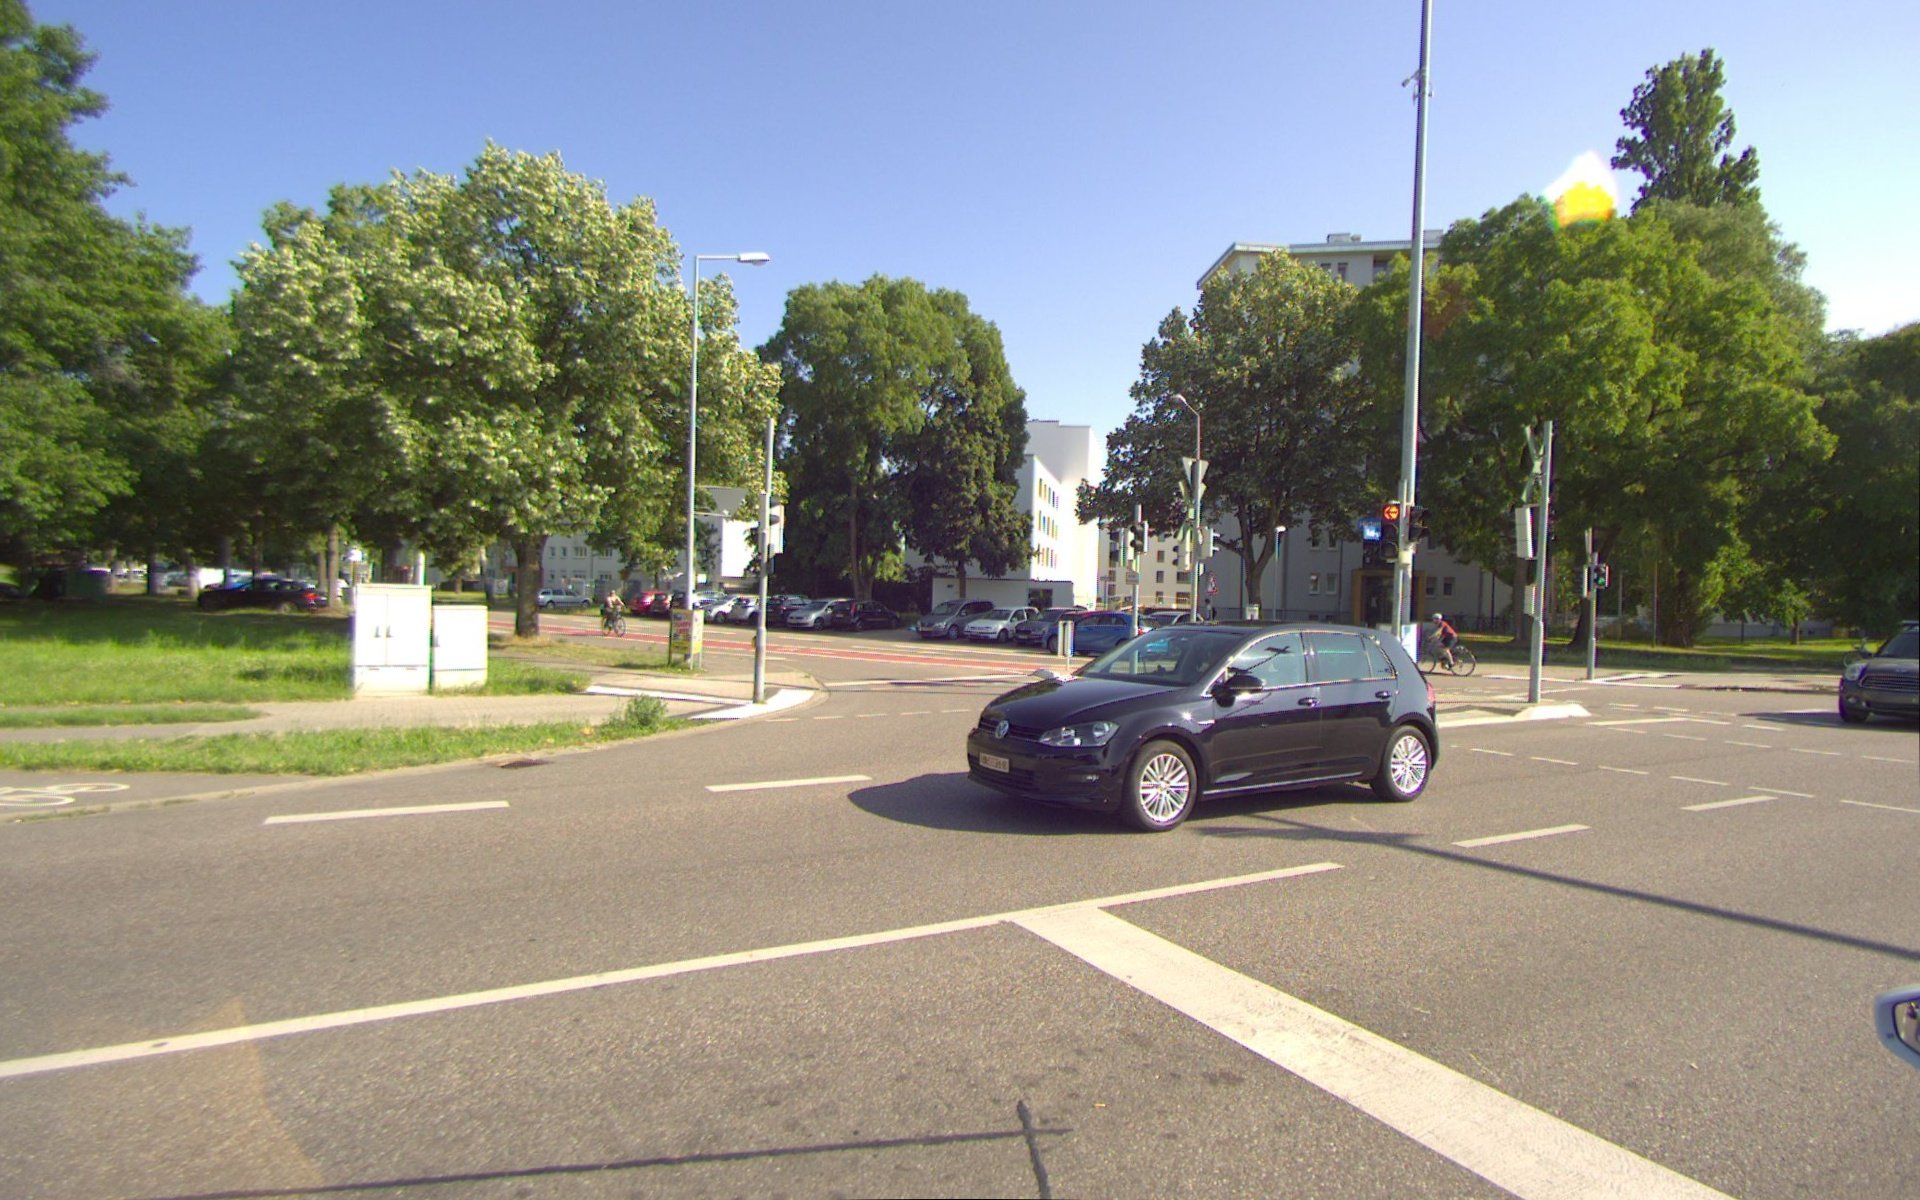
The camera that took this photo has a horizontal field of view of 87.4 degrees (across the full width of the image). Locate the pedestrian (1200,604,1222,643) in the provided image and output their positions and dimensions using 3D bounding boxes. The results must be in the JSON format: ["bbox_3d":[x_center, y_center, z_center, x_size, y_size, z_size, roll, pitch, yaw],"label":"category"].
[{"bbox_3d":[11.373,1.068,45.504,0.693,1.736,0.623,1,1,-17],"label":"pedestrian"}]

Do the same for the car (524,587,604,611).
[{"bbox_3d":[-26.946,-0.074,68.454,1.760,1.497,4.785,2,0,44],"label":"car"}]

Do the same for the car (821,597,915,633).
[{"bbox_3d":[-4.442,0.689,49.165,1.758,1.497,4.791,2,3,39],"label":"car"}]

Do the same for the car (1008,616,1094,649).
[{"bbox_3d":[3.713,1.290,40.648,1.445,1.209,3.765,2,0,43],"label":"car"}]

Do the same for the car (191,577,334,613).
[{"bbox_3d":[-29.149,-0.210,42.084,4.682,1.338,1.523,2,0,-8],"label":"car"}]

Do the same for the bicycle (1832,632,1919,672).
[{"bbox_3d":[28.474,1.607,31.275,0.624,1.134,1.900,1,0,-29],"label":"bicycle"}]

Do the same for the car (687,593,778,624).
[{"bbox_3d":[-12.321,0.423,54.757,1.758,1.497,4.791,2,3,39],"label":"car"}]

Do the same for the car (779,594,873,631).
[{"bbox_3d":[-6.594,0.583,49.830,1.758,1.497,4.692,2,4,39],"label":"car"}]

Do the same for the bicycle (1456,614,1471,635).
[{"bbox_3d":[27.922,1.365,55.727,0.601,1.080,1.916,3,-1,24],"label":"bicycle"}]

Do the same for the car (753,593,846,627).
[{"bbox_3d":[-8.239,0.478,51.915,1.758,1.497,4.790,2,4,39],"label":"car"}]

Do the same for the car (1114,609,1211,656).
[{"bbox_3d":[7.553,1.156,37.263,1.760,1.459,3.976,2,3,43],"label":"car"}]

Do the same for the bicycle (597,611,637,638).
[{"bbox_3d":[-12.844,0.908,37.588,1.783,0.915,0.651,2,1,42],"label":"bicycle"}]

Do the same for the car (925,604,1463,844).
[{"bbox_3d":[1.950,0.837,8.157,4.051,1.493,1.880,2,0,-30],"label":"car"}]

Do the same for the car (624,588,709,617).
[{"bbox_3d":[-17.601,0.118,60.429,1.758,1.497,4.791,2,3,39],"label":"car"}]

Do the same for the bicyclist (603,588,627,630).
[{"bbox_3d":[-12.956,0.323,37.731,0.617,1.544,0.616,2,1,35],"label":"bicyclist"}]

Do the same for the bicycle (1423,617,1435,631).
[{"bbox_3d":[26.534,1.339,56.773,0.574,0.718,2.236,2,1,26],"label":"bicycle"}]

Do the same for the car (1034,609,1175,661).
[{"bbox_3d":[4.585,1.089,32.138,4.184,1.433,1.775,2,0,43],"label":"car"}]

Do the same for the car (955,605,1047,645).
[{"bbox_3d":[1.792,1.039,42.542,1.759,1.541,3.979,2,0,42],"label":"car"}]

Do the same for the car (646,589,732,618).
[{"bbox_3d":[-15.847,0.181,58.951,1.758,1.497,4.791,2,3,39],"label":"car"}]

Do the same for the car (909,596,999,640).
[{"bbox_3d":[-0.216,0.800,44.388,1.759,1.835,3.979,2,0,42],"label":"car"}]

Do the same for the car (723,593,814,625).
[{"bbox_3d":[-10.131,0.439,53.502,1.758,1.497,4.754,2,3,39],"label":"car"}]

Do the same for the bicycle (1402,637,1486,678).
[{"bbox_3d":[13.838,1.634,28.773,2.029,1.054,0.622,2,1,12],"label":"bicycle"}]

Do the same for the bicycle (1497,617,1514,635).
[{"bbox_3d":[29.835,1.421,54.982,0.658,0.932,2.404,2,1,26],"label":"bicycle"}]

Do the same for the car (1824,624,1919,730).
[{"bbox_3d":[15.869,1.212,16.231,3.955,1.540,1.779,2,0,-32],"label":"car"}]

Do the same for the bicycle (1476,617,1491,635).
[{"bbox_3d":[28.888,1.426,55.461,0.663,0.887,2.482,2,1,26],"label":"bicycle"}]

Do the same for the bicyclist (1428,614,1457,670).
[{"bbox_3d":[13.813,1.195,28.764,0.590,1.581,0.609,2,0,12],"label":"bicyclist"}]

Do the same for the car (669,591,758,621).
[{"bbox_3d":[-13.881,0.313,56.689,1.758,1.497,4.791,2,3,39],"label":"car"}]

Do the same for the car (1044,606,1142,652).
[{"bbox_3d":[5.243,1.096,39.242,1.761,1.435,3.974,2,4,44],"label":"car"}]
